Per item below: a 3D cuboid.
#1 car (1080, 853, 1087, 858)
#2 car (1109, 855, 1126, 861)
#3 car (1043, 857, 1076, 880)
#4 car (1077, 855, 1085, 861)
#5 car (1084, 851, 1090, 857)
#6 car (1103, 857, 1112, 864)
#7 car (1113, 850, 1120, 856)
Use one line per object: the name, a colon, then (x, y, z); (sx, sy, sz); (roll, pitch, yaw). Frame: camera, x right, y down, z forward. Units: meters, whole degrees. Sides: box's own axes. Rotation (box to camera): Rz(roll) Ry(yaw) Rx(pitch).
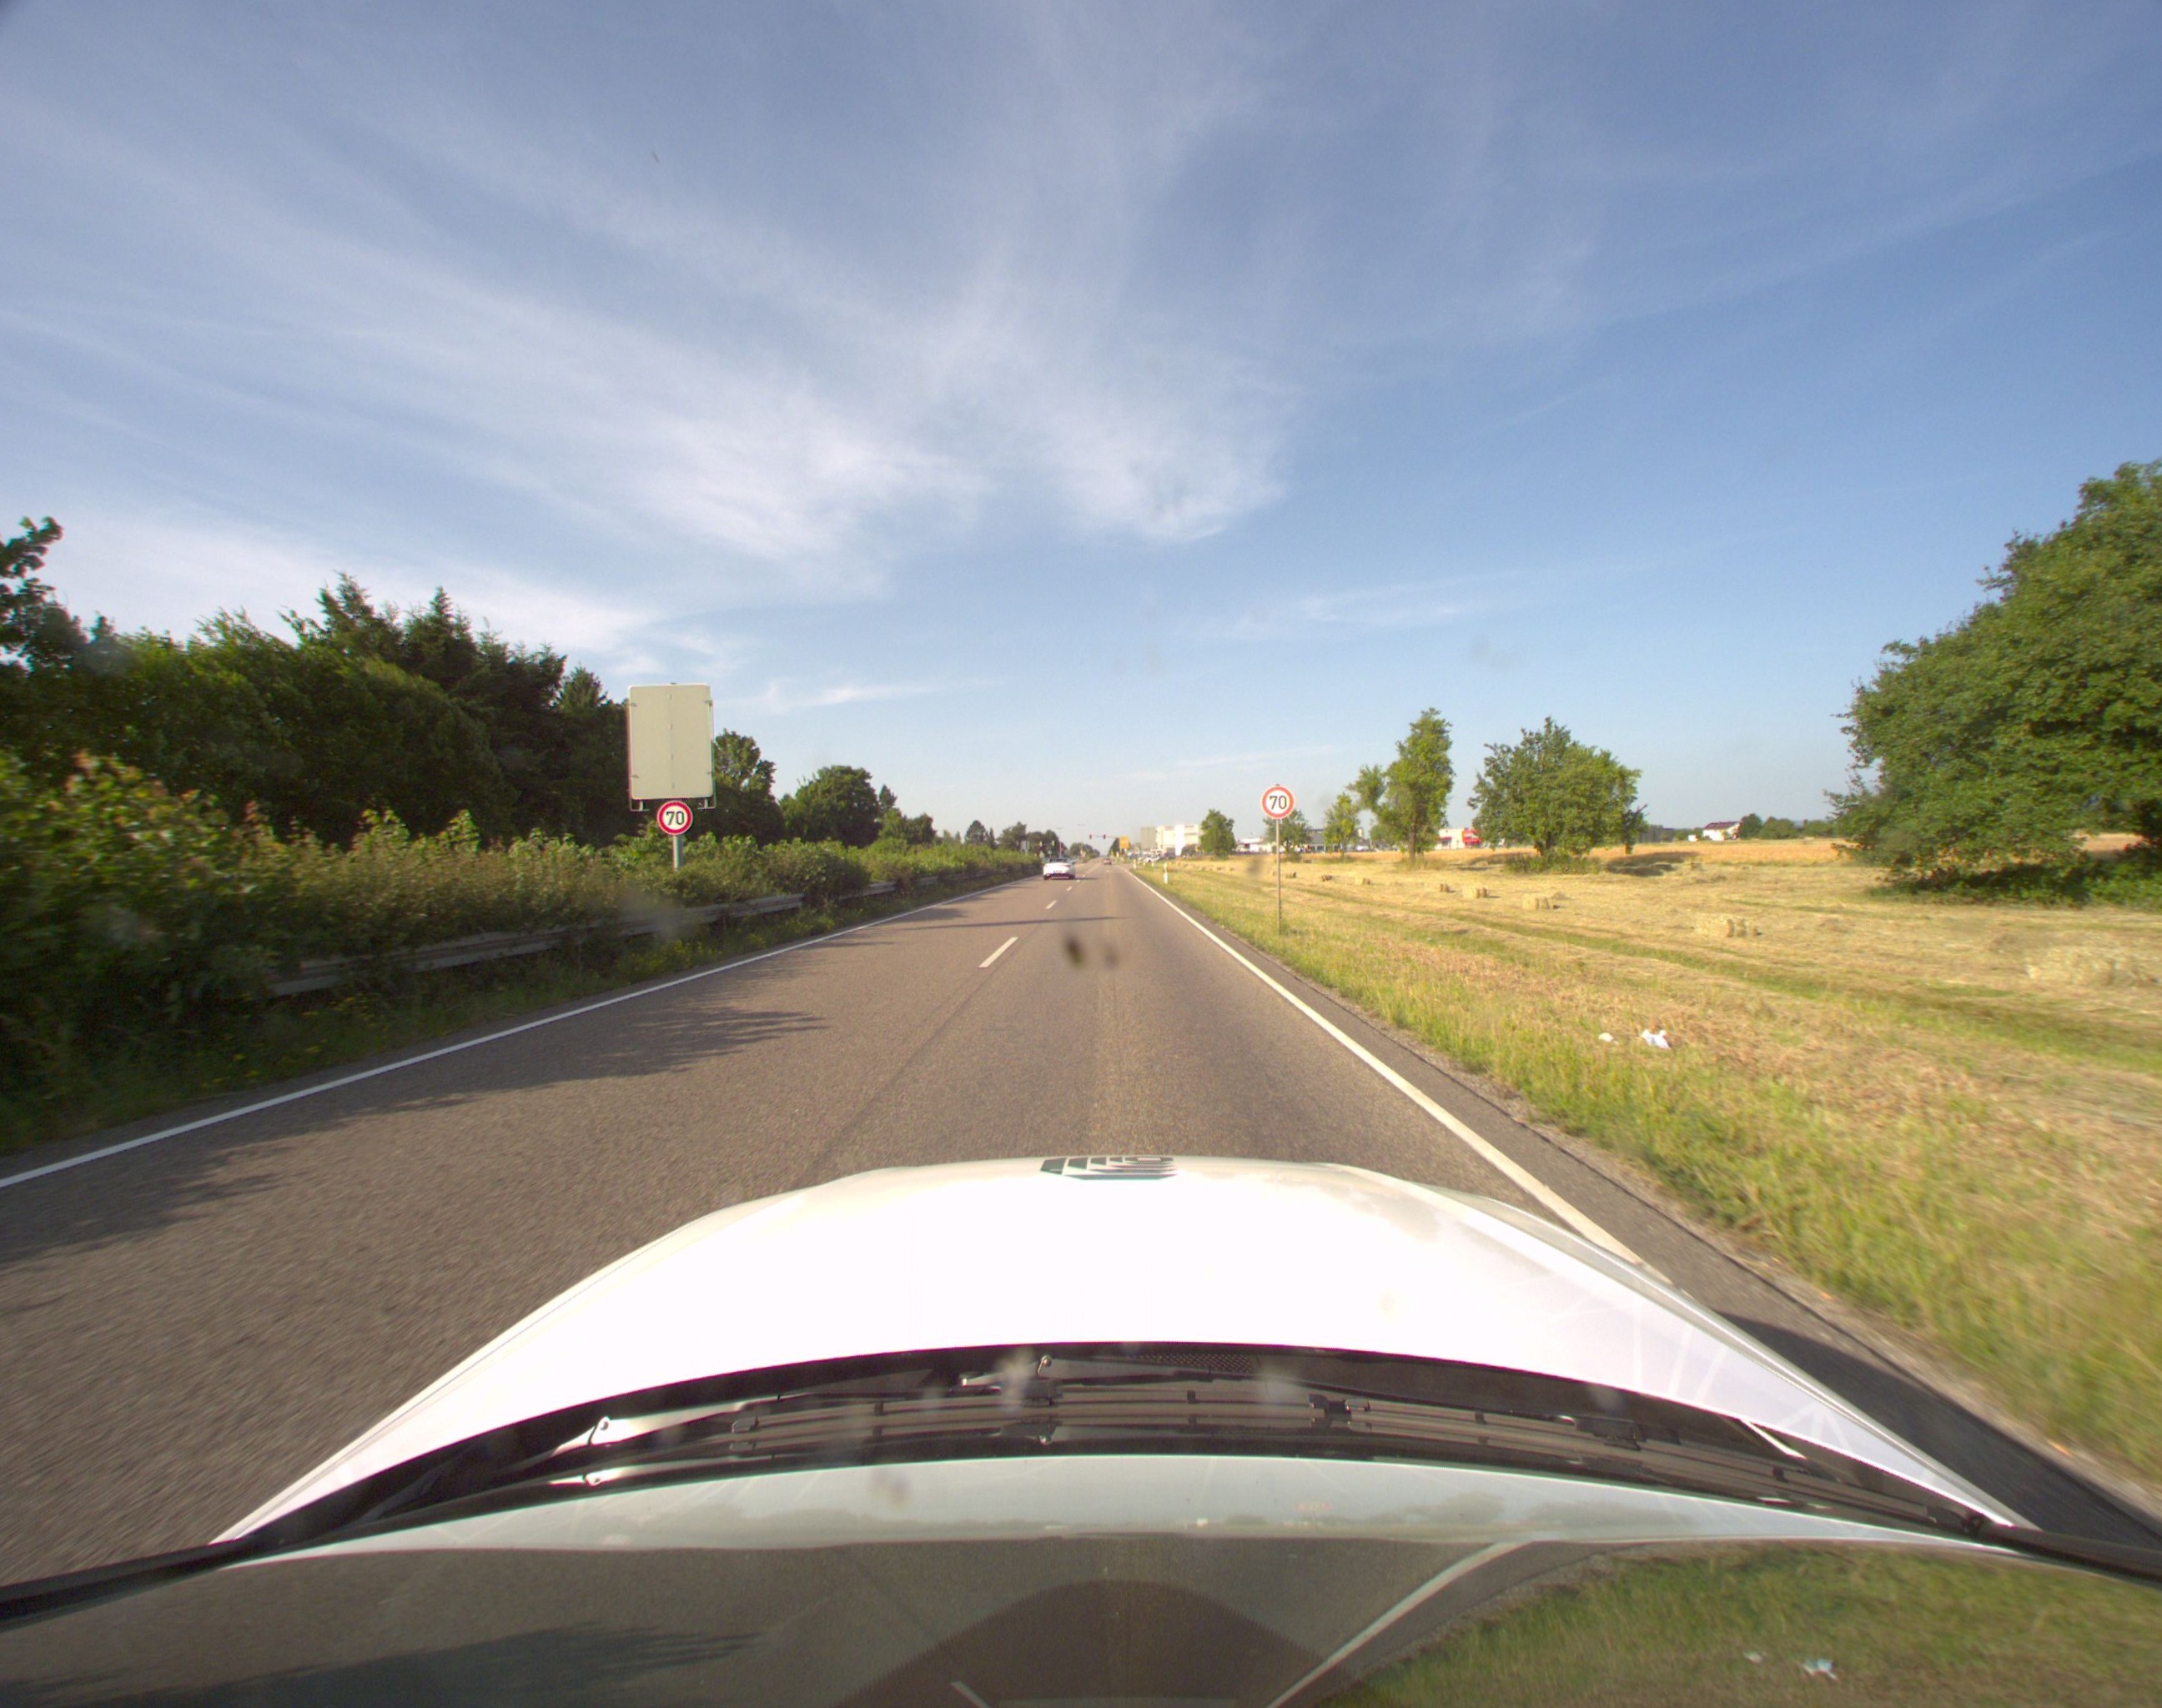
car: (0.737, 0.369, 239.973); (1.940, 1.408, 4.003); (-1, 0, 2)
car: (9.176, 0.918, 203.853); (3.998, 1.408, 1.942); (-1, 0, -18)
car: (-1.357, 0.891, 52.318); (1.903, 1.422, 4.001); (-1, 0, 1)
car: (0.112, 0.993, 215.184); (1.940, 1.408, 4.003); (-1, 0, 2)
car: (1.853, 0.018, 253.999); (1.940, 1.772, 4.003); (-1, 0, 2)
car: (5.833, 1.443, 177.841); (1.986, 1.486, 4.001); (-1, 0, 1)
car: (11.126, -0.423, 253.204); (1.985, 1.757, 4.003); (-1, 0, 3)
